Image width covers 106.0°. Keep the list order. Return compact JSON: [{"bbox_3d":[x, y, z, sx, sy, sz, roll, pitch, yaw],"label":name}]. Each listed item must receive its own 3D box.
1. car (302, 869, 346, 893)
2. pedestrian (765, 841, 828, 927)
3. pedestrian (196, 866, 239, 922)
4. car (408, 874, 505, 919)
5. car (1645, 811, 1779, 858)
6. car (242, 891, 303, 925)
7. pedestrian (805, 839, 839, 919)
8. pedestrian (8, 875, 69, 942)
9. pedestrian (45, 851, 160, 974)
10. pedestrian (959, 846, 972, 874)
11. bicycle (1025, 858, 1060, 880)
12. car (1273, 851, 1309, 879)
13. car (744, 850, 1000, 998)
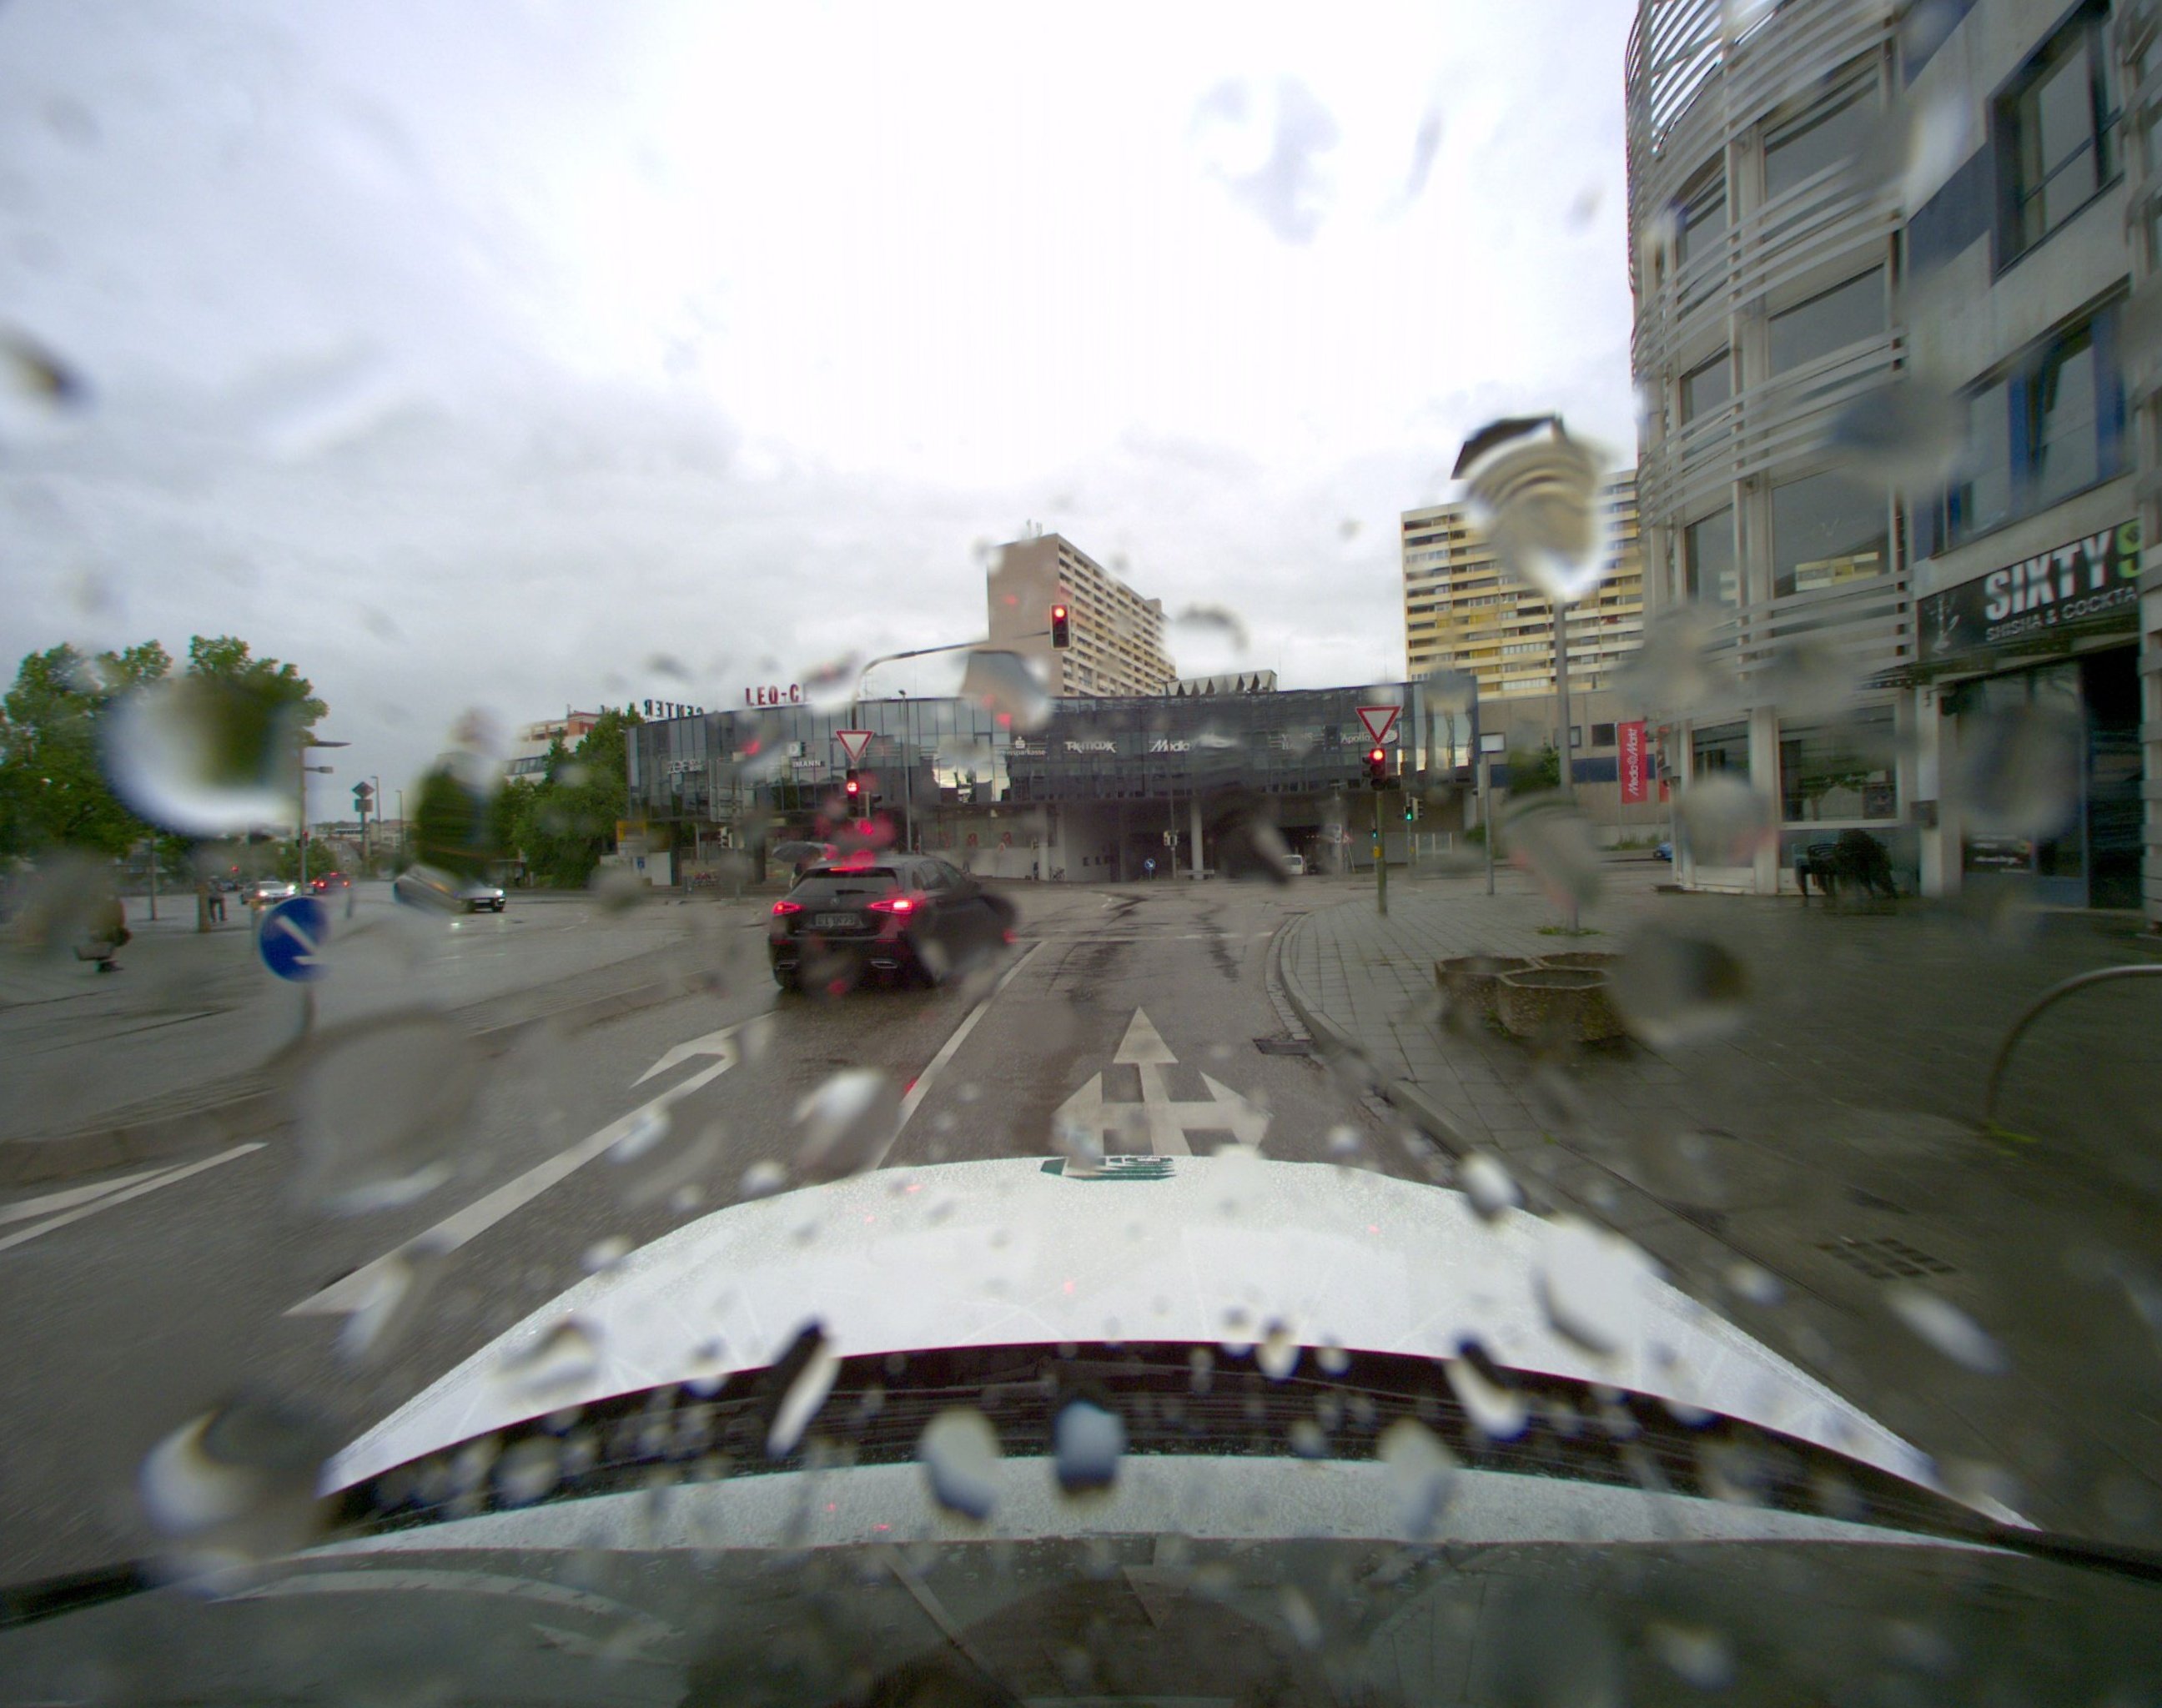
[{"bbox_3d":[-69.113,2.446,74.313,3.948,2.013,2.013,-2,0,34],"label":"car"},{"bbox_3d":[-5.683,0.581,16.251,0.916,1.659,0.746,2,0,-42],"label":"pedestrian"},{"bbox_3d":[-32.491,1.482,30.668,0.952,2.013,1.034,2,0,45],"label":"pedestrian"},{"bbox_3d":[-25.213,1.655,32.837,4.376,1.512,2.012,2,0,38],"label":"car"},{"bbox_3d":[26.463,-0.807,34.307,3.955,1.717,2.009,-2,0,18],"label":"car"},{"bbox_3d":[-52.731,3.503,53.081,3.948,2.013,2.013,-2,0,34],"label":"car"},{"bbox_3d":[-5.481,0.512,17.241,0.611,1.659,0.668,2,0,-20],"label":"pedestrian"},{"bbox_3d":[-32.819,1.682,25.653,0.952,2.013,1.034,2,0,45],"label":"pedestrian"},{"bbox_3d":[-16.750,0.974,13.965,0.744,2.014,0.923,2,-1,6],"label":"pedestrian"},{"bbox_3d":[-8.261,0.427,58.282,0.786,2.013,0.669,-2,0,-5],"label":"pedestrian"},{"bbox_3d":[-2.764,1.077,58.937,2.430,1.464,0.652,-2,2,-17],"label":"bicycle"},{"bbox_3d":[14.758,0.747,57.010,1.977,1.717,4.021,-2,0,20],"label":"car"},{"bbox_3d":[-2.329,0.709,10.248,1.796,1.419,4.006,-2,0,5],"label":"car"}]
